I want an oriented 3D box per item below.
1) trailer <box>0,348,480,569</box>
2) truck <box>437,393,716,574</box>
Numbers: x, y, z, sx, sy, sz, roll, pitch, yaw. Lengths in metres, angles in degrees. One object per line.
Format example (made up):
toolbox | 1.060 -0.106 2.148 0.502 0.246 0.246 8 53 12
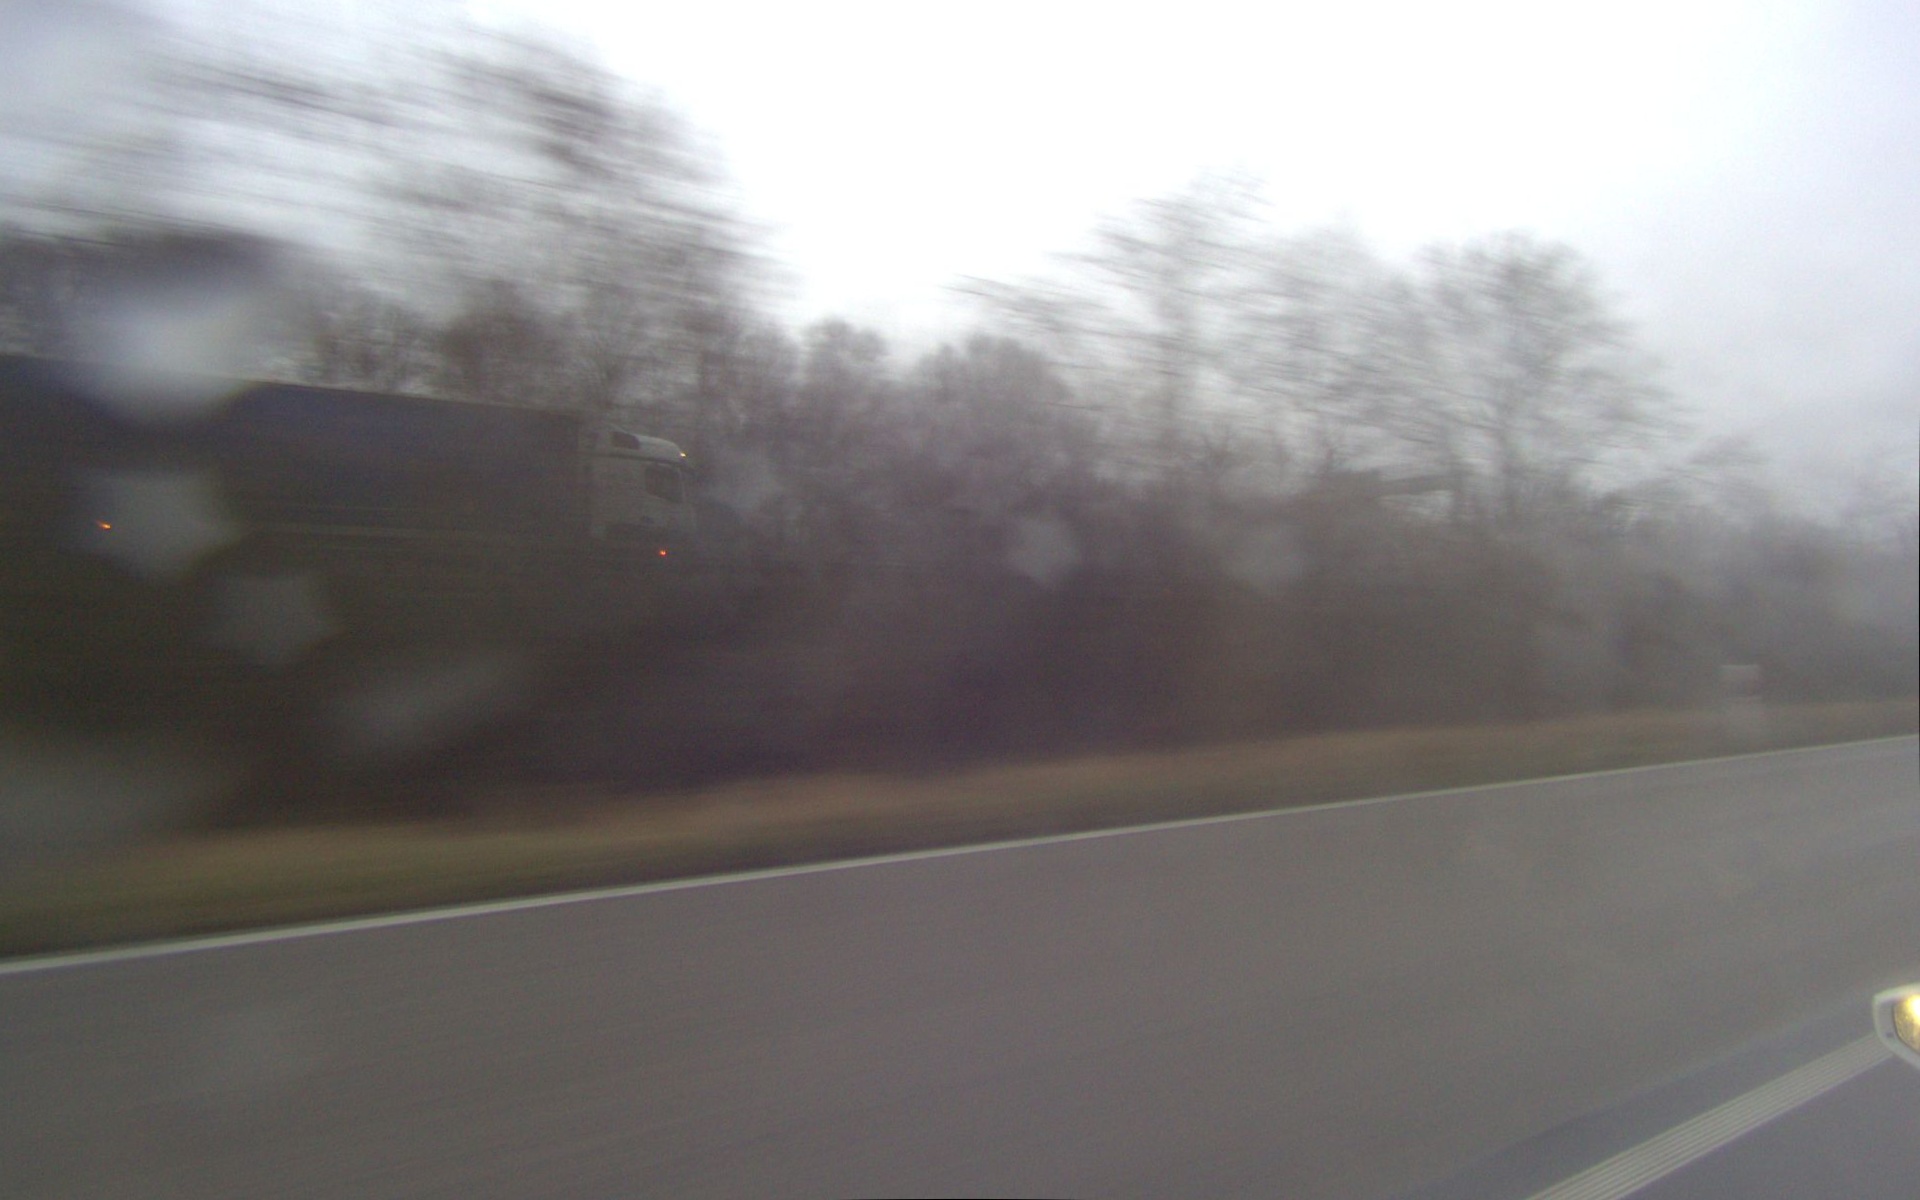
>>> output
trailer | -16.166 -2.683 20.575 11.251 3.682 2.985 1 0 -30
truck | -9.340 -2.590 24.537 5.994 3.680 2.978 1 0 -30
